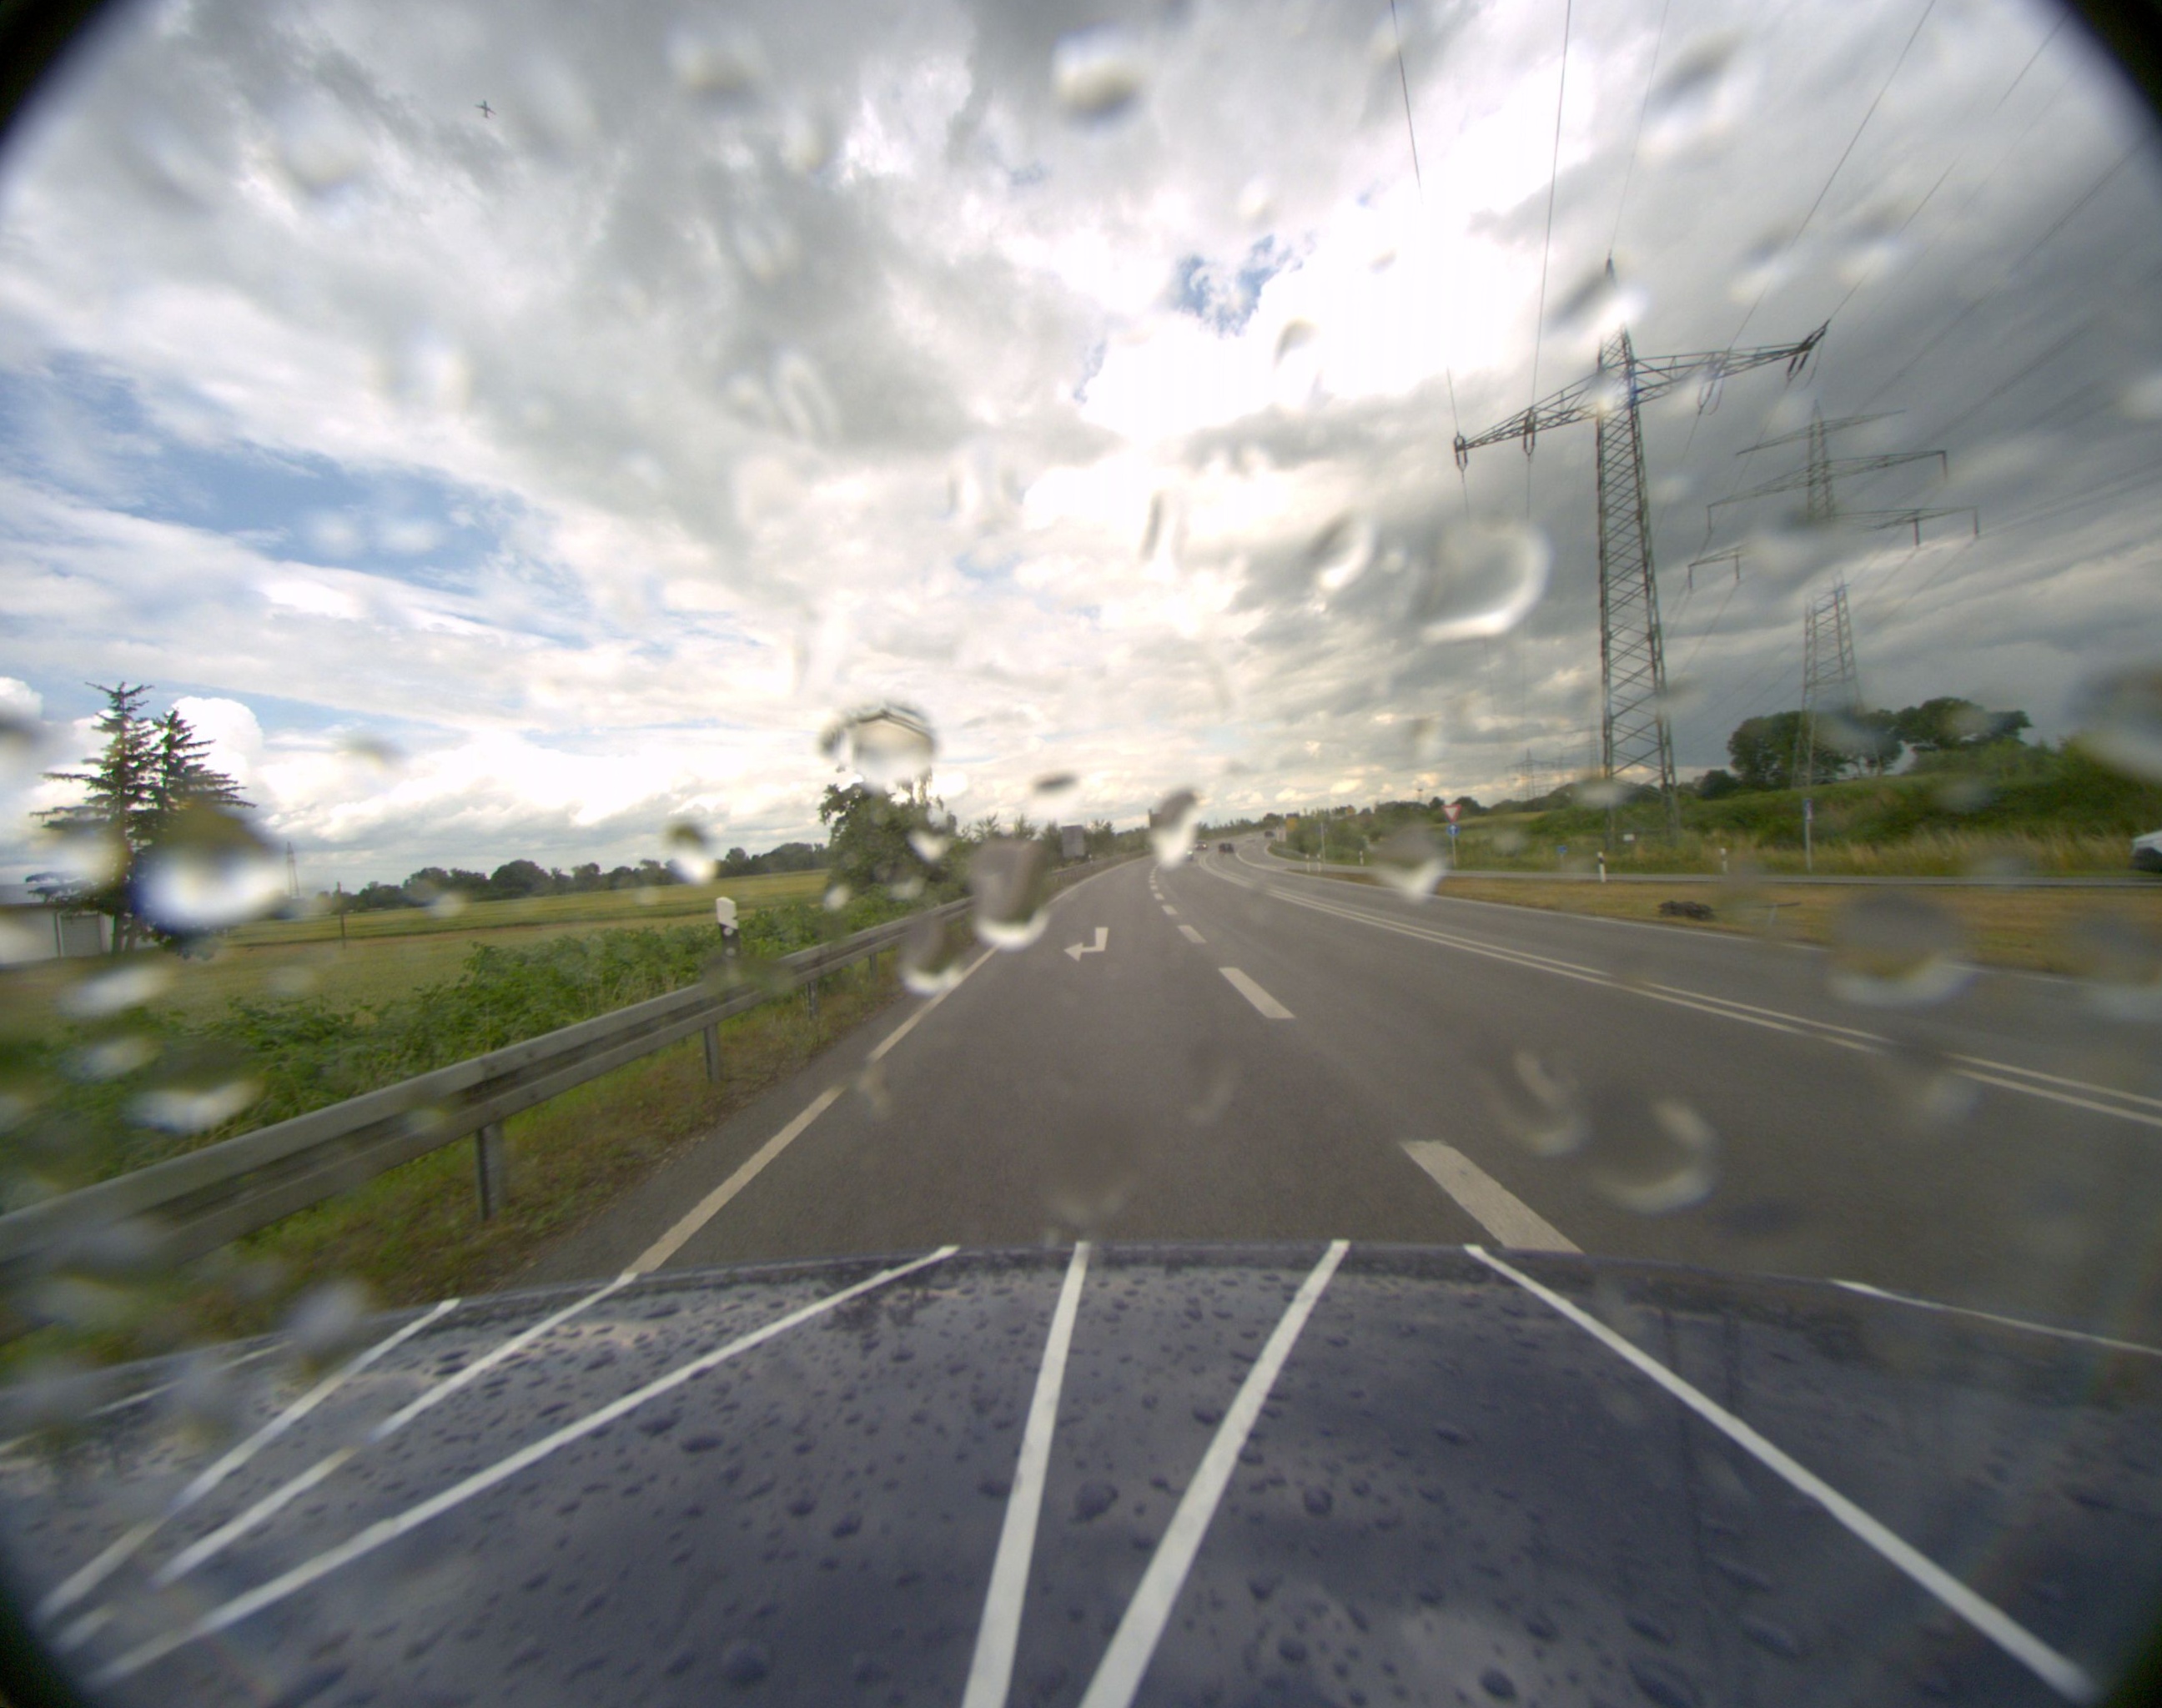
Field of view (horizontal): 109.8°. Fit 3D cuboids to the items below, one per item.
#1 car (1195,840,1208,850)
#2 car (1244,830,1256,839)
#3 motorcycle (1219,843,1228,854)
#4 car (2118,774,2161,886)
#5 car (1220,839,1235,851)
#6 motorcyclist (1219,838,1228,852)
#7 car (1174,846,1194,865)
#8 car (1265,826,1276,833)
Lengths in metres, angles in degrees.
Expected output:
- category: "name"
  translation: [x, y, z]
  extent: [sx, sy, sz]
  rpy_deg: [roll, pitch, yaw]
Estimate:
- category: "car"
  translation: [19.139, -1.450, 120.722]
  extent: [1.747, 1.488, 4.053]
  rpy_deg: [-3, 1, 11]
- category: "car"
  translation: [34.898, -4.029, 156.830]
  extent: [1.707, 1.472, 4.615]
  rpy_deg: [-2, 2, 22]
- category: "motorcycle"
  translation: [16.043, -0.657, 85.428]
  extent: [0.803, 1.231, 2.187]
  rpy_deg: [-2, 1, 15]
- category: "car"
  translation: [28.783, -0.685, 17.259]
  extent: [2.217, 2.734, 6.007]
  rpy_deg: [-5, 2, -31]
- category: "car"
  translation: [19.940, -1.256, 103.483]
  extent: [1.803, 1.585, 4.227]
  rpy_deg: [-2, 1, 9]
- category: "motorcyclist"
  translation: [15.999, -0.963, 85.354]
  extent: [0.803, 1.526, 0.825]
  rpy_deg: [-2, 1, 15]
- category: "car"
  translation: [10.494, 0.099, 77.380]
  extent: [1.795, 1.758, 4.002]
  rpy_deg: [-3, 1, 9]
- category: "car"
  translation: [45.352, -5.860, 181.816]
  extent: [1.801, 1.566, 4.265]
  rpy_deg: [0, 3, 23]
